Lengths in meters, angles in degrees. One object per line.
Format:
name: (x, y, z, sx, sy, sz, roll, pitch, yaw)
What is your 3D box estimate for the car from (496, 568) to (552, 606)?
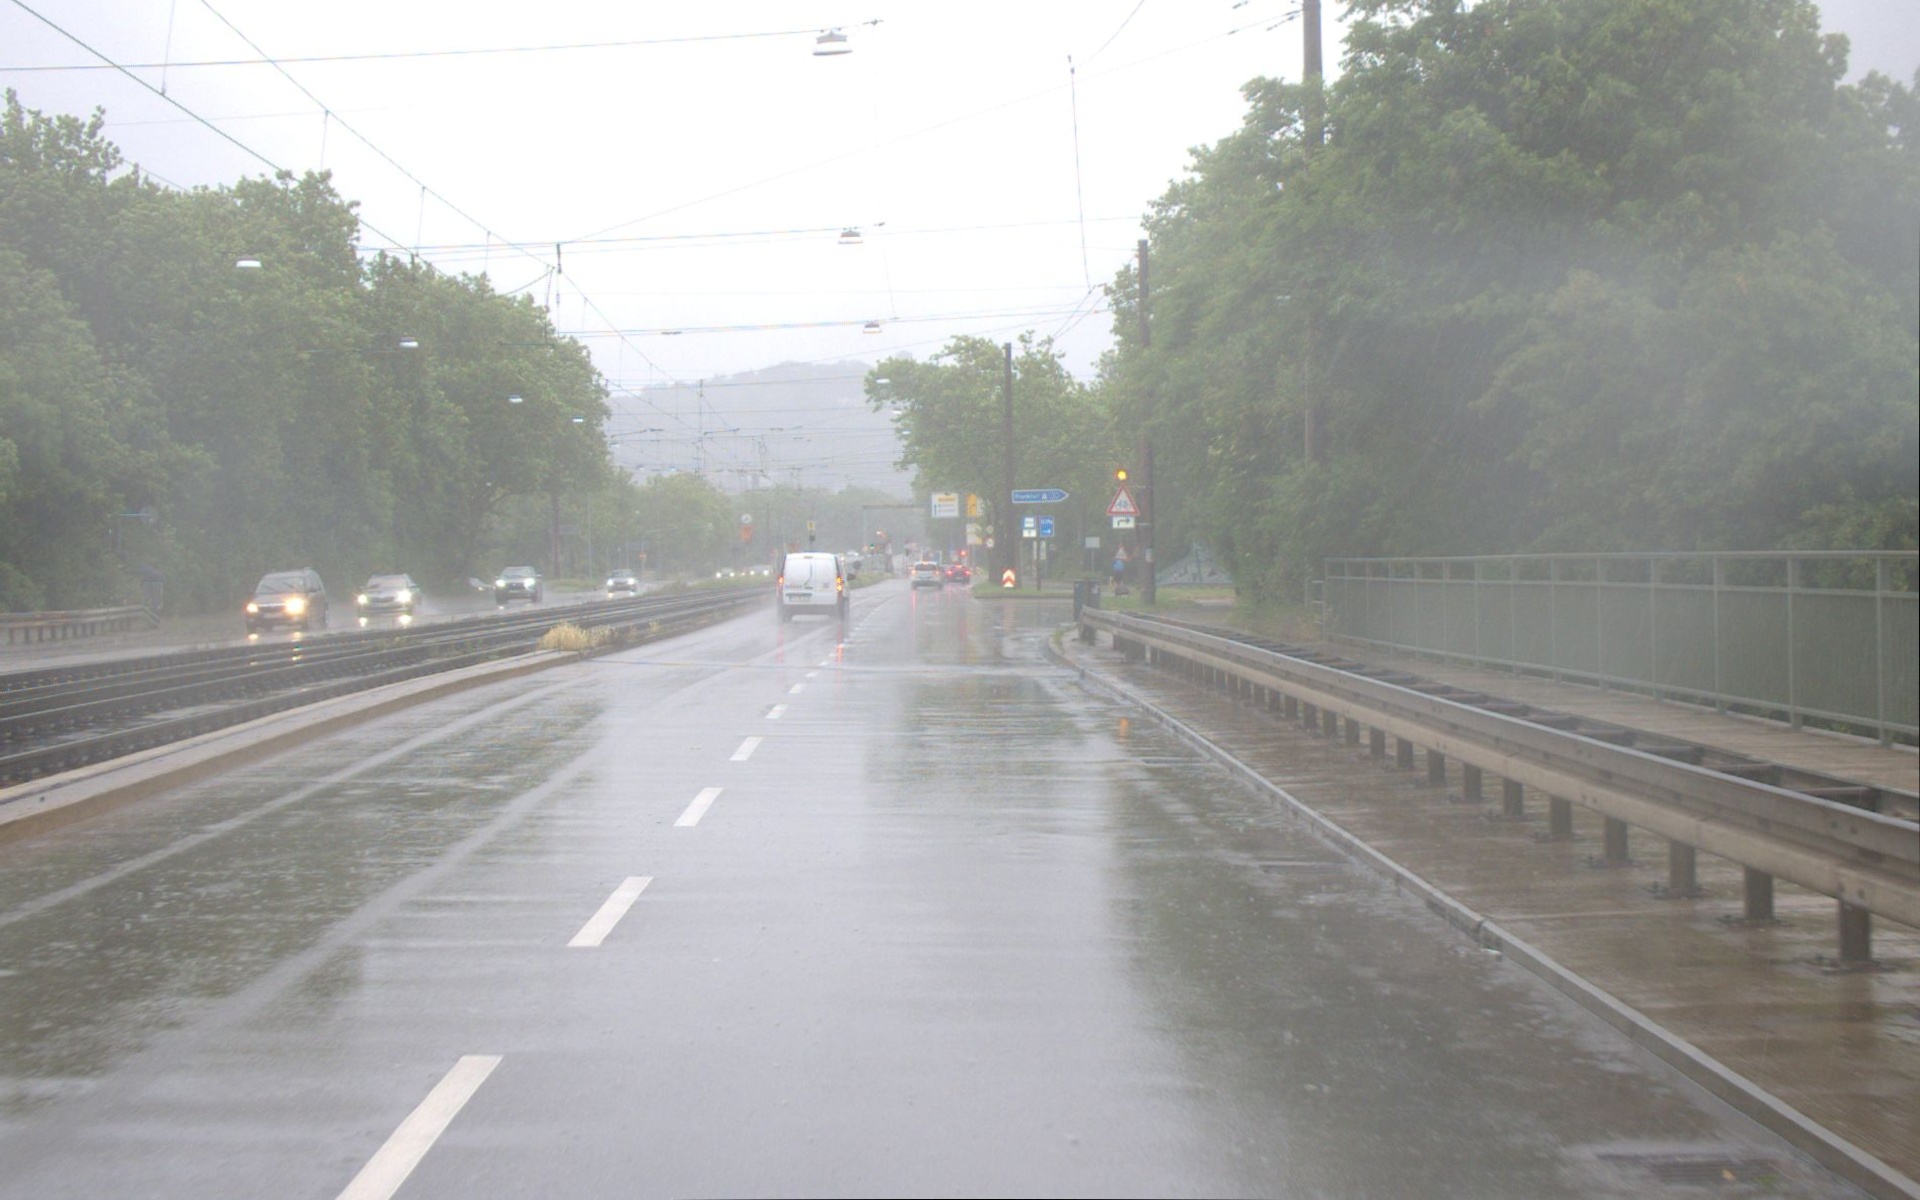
car: (-19.548, -0.601, 154.246, 1.993, 1.667, 4.873, 0, 1, -2)

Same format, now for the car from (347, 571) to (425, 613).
car: (-19.651, -0.278, 117.800, 1.993, 1.384, 4.853, 0, 1, -2)

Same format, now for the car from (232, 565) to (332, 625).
car: (-18.056, -0.128, 91.753, 1.841, 1.568, 4.385, 0, 0, -1)

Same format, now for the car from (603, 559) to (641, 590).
car: (-21.343, -1.627, 217.158, 1.993, 1.776, 4.000, 4, 1, -1)

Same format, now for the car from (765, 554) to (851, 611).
car: (-3.965, -0.457, 90.049, 2.077, 1.415, 4.000, -1, 0, -1)
